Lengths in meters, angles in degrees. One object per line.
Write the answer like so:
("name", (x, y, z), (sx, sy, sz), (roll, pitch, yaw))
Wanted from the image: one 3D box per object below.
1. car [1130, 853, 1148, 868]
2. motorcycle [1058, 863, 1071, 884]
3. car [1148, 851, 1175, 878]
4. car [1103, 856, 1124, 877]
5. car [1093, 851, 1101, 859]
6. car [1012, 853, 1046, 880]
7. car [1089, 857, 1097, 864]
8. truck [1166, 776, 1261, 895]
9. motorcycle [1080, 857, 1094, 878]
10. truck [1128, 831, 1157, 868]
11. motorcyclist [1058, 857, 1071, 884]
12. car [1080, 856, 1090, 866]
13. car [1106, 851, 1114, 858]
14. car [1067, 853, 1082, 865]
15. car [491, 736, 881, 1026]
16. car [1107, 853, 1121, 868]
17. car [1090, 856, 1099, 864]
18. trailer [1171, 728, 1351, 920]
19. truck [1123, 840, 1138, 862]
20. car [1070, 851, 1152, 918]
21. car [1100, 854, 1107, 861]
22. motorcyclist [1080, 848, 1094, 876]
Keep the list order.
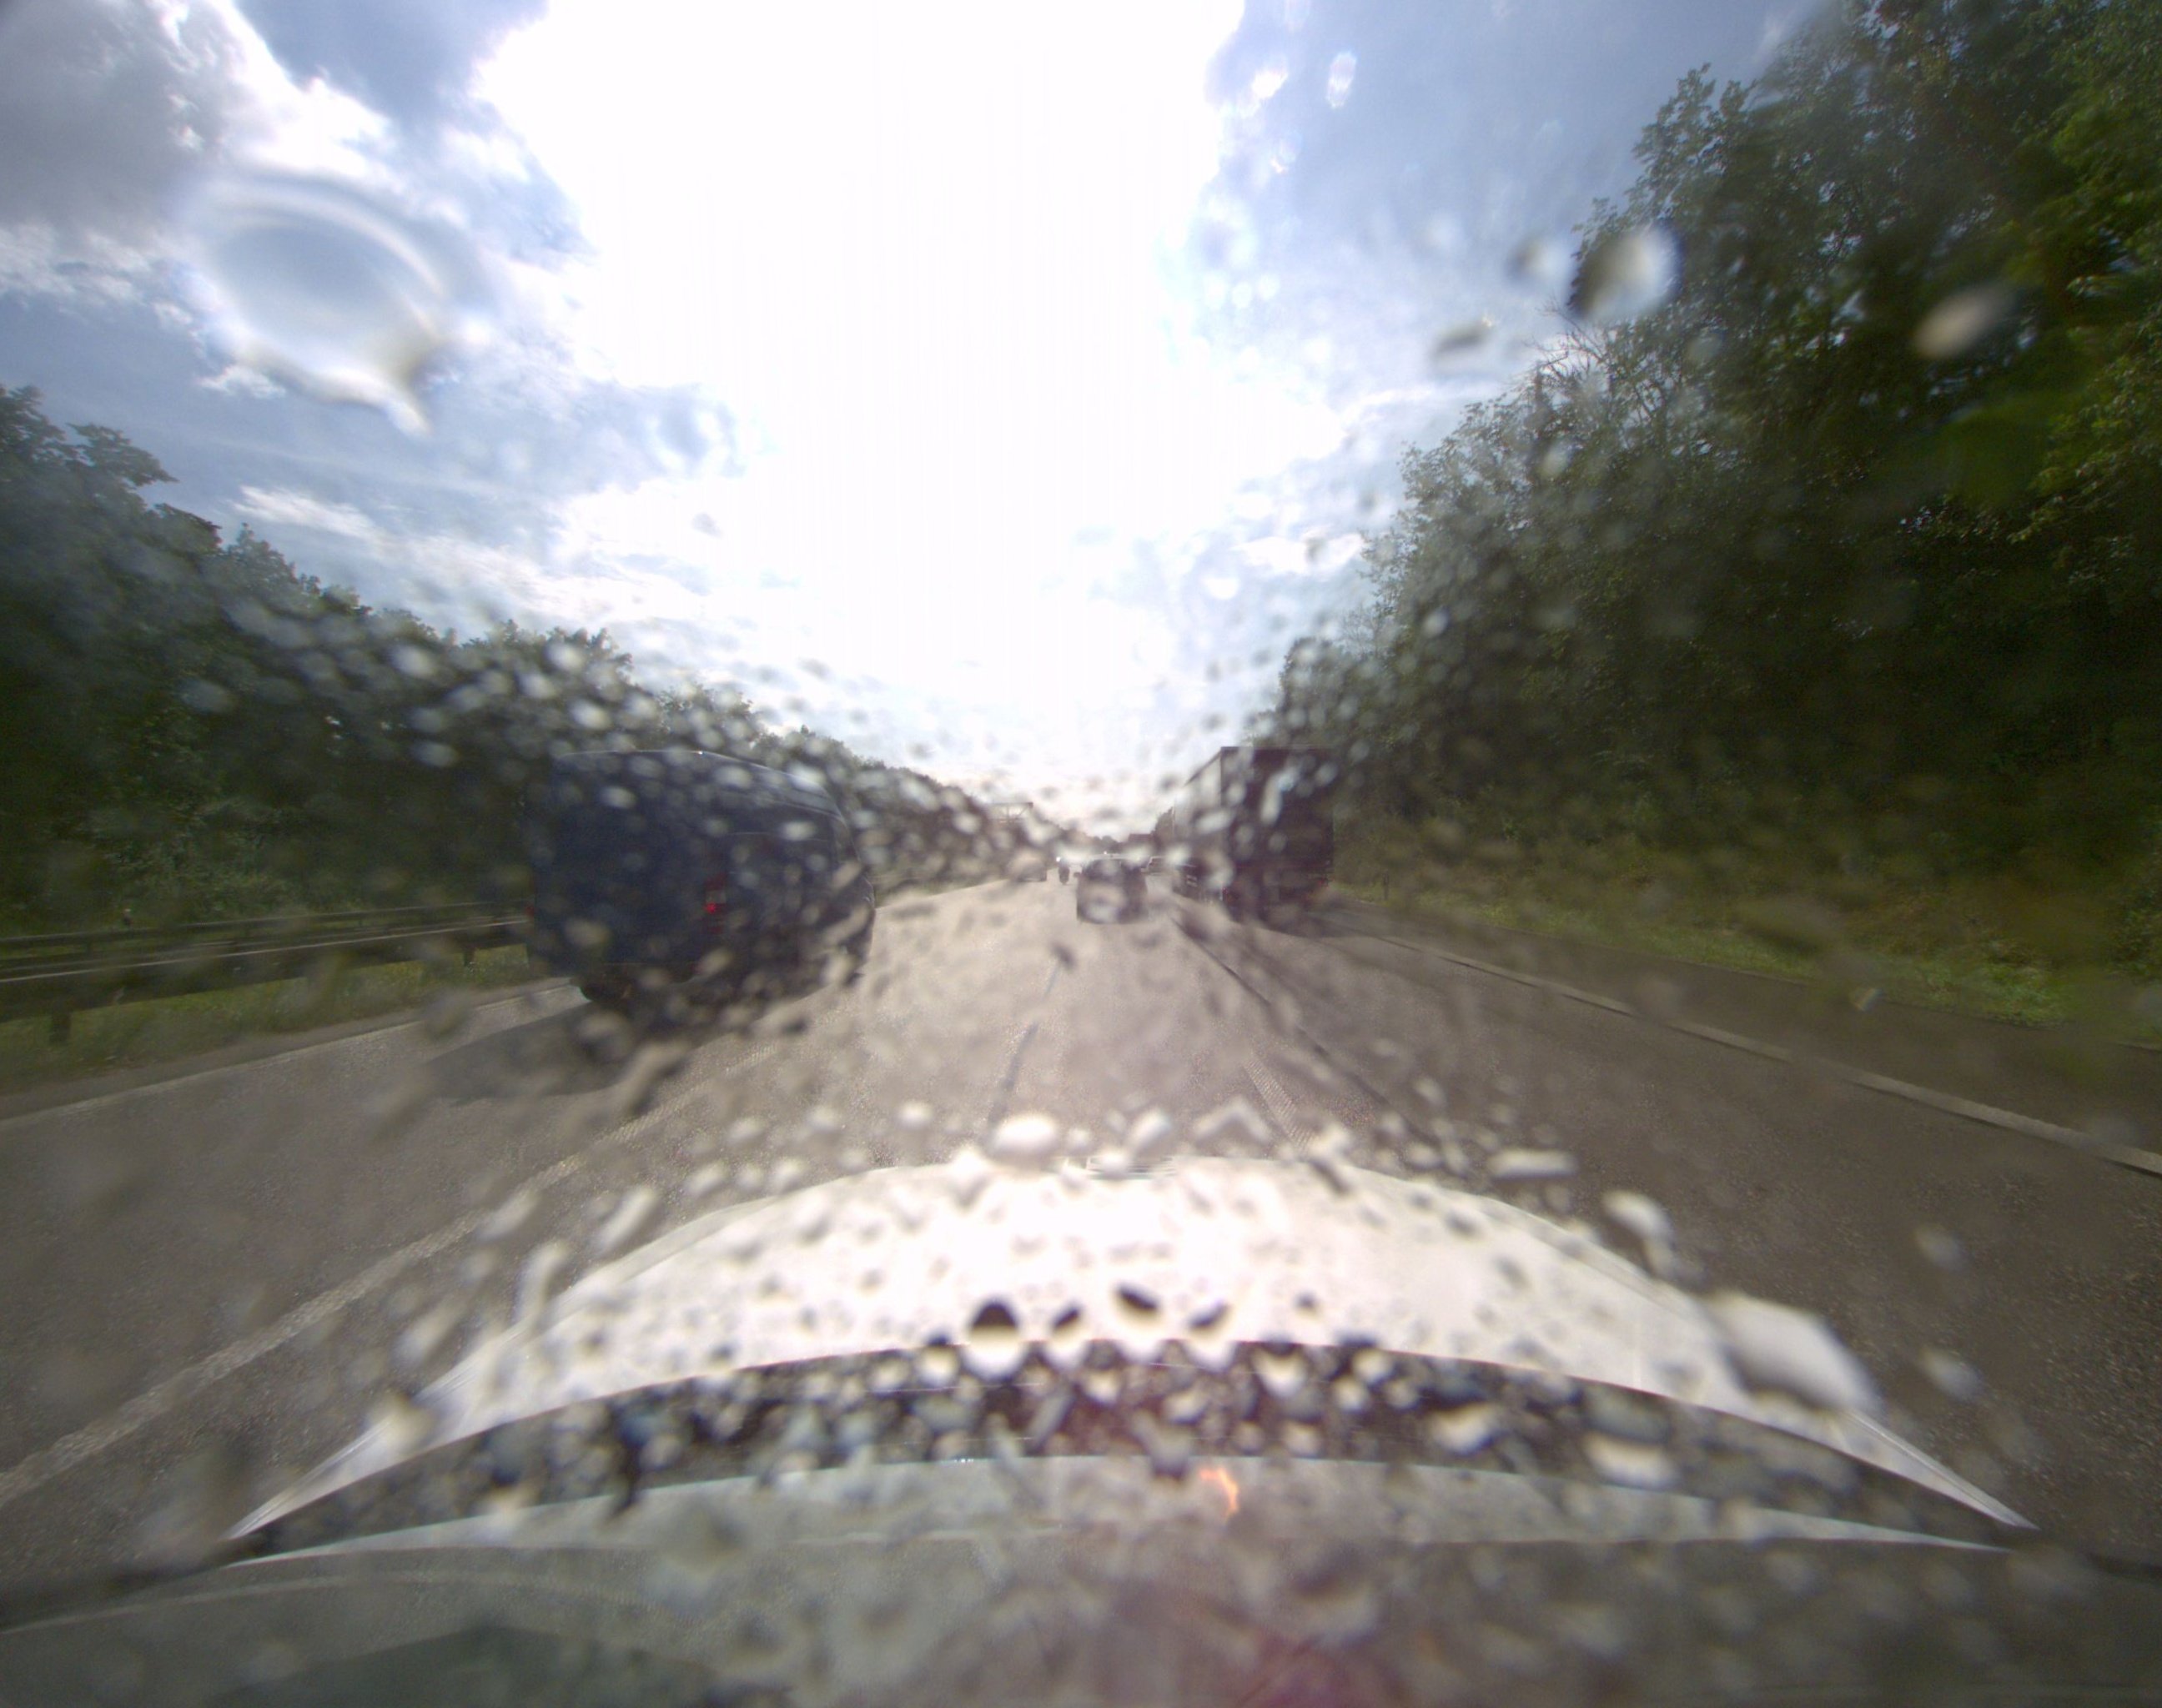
("car", (6.058, 0.704, 85.372), (1.669, 1.490, 3.437), (-1, 0, 1))
("motorcycle", (-0.914, 1.061, 44.492), (0.674, 1.087, 1.981), (0, 0, -1))
("car", (6.259, 0.808, 63.829), (1.842, 2.014, 4.089), (-1, -1, 2))
("car", (3.256, 1.264, 81.413), (1.986, 2.014, 4.001), (-1, -1, 1))
("car", (4.232, 0.378, 209.440), (1.986, 2.014, 4.001), (-1, -1, 1))
("car", (-3.269, 0.766, 51.746), (1.752, 1.595, 4.332), (-1, 0, 1))
("car", (2.517, 1.353, 169.572), (1.669, 1.490, 3.437), (-1, 0, 1))
("truck", (5.158, -0.661, 32.707), (3.040, 4.325, 5.889), (-1, 0, 2))
("motorcycle", (0.381, 0.846, 52.299), (0.817, 1.263, 2.117), (-1, 0, -1))
("truck", (7.707, -0.555, 103.183), (3.190, 4.404, 9.437), (-1, 0, 2))
("motorcyclist", (-0.917, 0.917, 44.426), (0.668, 1.442, 1.019), (-1, -1, -2))
("car", (0.632, 1.200, 143.361), (1.669, 1.597, 3.437), (-1, 0, 1))
("car", (5.736, 0.073, 162.283), (1.626, 1.490, 3.437), (-1, 0, 1))
("car", (-0.853, 0.693, 113.349), (1.886, 1.628, 4.196), (-1, 0, 1))
("car", (-4.351, 0.255, 10.393), (2.008, 2.648, 5.778), (-1, 0, 1))
("car", (4.245, 0.818, 105.367), (1.669, 1.936, 3.774), (-1, 0, 1))
("car", (3.178, 1.441, 193.897), (1.986, 2.014, 4.001), (-1, -1, 1))
("trailer", (4.849, -0.668, 25.531), (3.076, 4.312, 14.113), (-1, 0, 3))
("truck", (11.094, -0.672, 182.305), (2.871, 4.687, 12.663), (-1, -1, 2))
("car", (0.770, 0.723, 21.326), (1.908, 1.565, 4.315), (-1, 0, 1))
("car", (6.371, 1.098, 233.132), (1.986, 2.014, 4.001), (-1, -1, 1))
("motorcyclist", (0.389, 0.502, 52.218), (0.819, 1.761, 1.390), (-1, -1, -1))
